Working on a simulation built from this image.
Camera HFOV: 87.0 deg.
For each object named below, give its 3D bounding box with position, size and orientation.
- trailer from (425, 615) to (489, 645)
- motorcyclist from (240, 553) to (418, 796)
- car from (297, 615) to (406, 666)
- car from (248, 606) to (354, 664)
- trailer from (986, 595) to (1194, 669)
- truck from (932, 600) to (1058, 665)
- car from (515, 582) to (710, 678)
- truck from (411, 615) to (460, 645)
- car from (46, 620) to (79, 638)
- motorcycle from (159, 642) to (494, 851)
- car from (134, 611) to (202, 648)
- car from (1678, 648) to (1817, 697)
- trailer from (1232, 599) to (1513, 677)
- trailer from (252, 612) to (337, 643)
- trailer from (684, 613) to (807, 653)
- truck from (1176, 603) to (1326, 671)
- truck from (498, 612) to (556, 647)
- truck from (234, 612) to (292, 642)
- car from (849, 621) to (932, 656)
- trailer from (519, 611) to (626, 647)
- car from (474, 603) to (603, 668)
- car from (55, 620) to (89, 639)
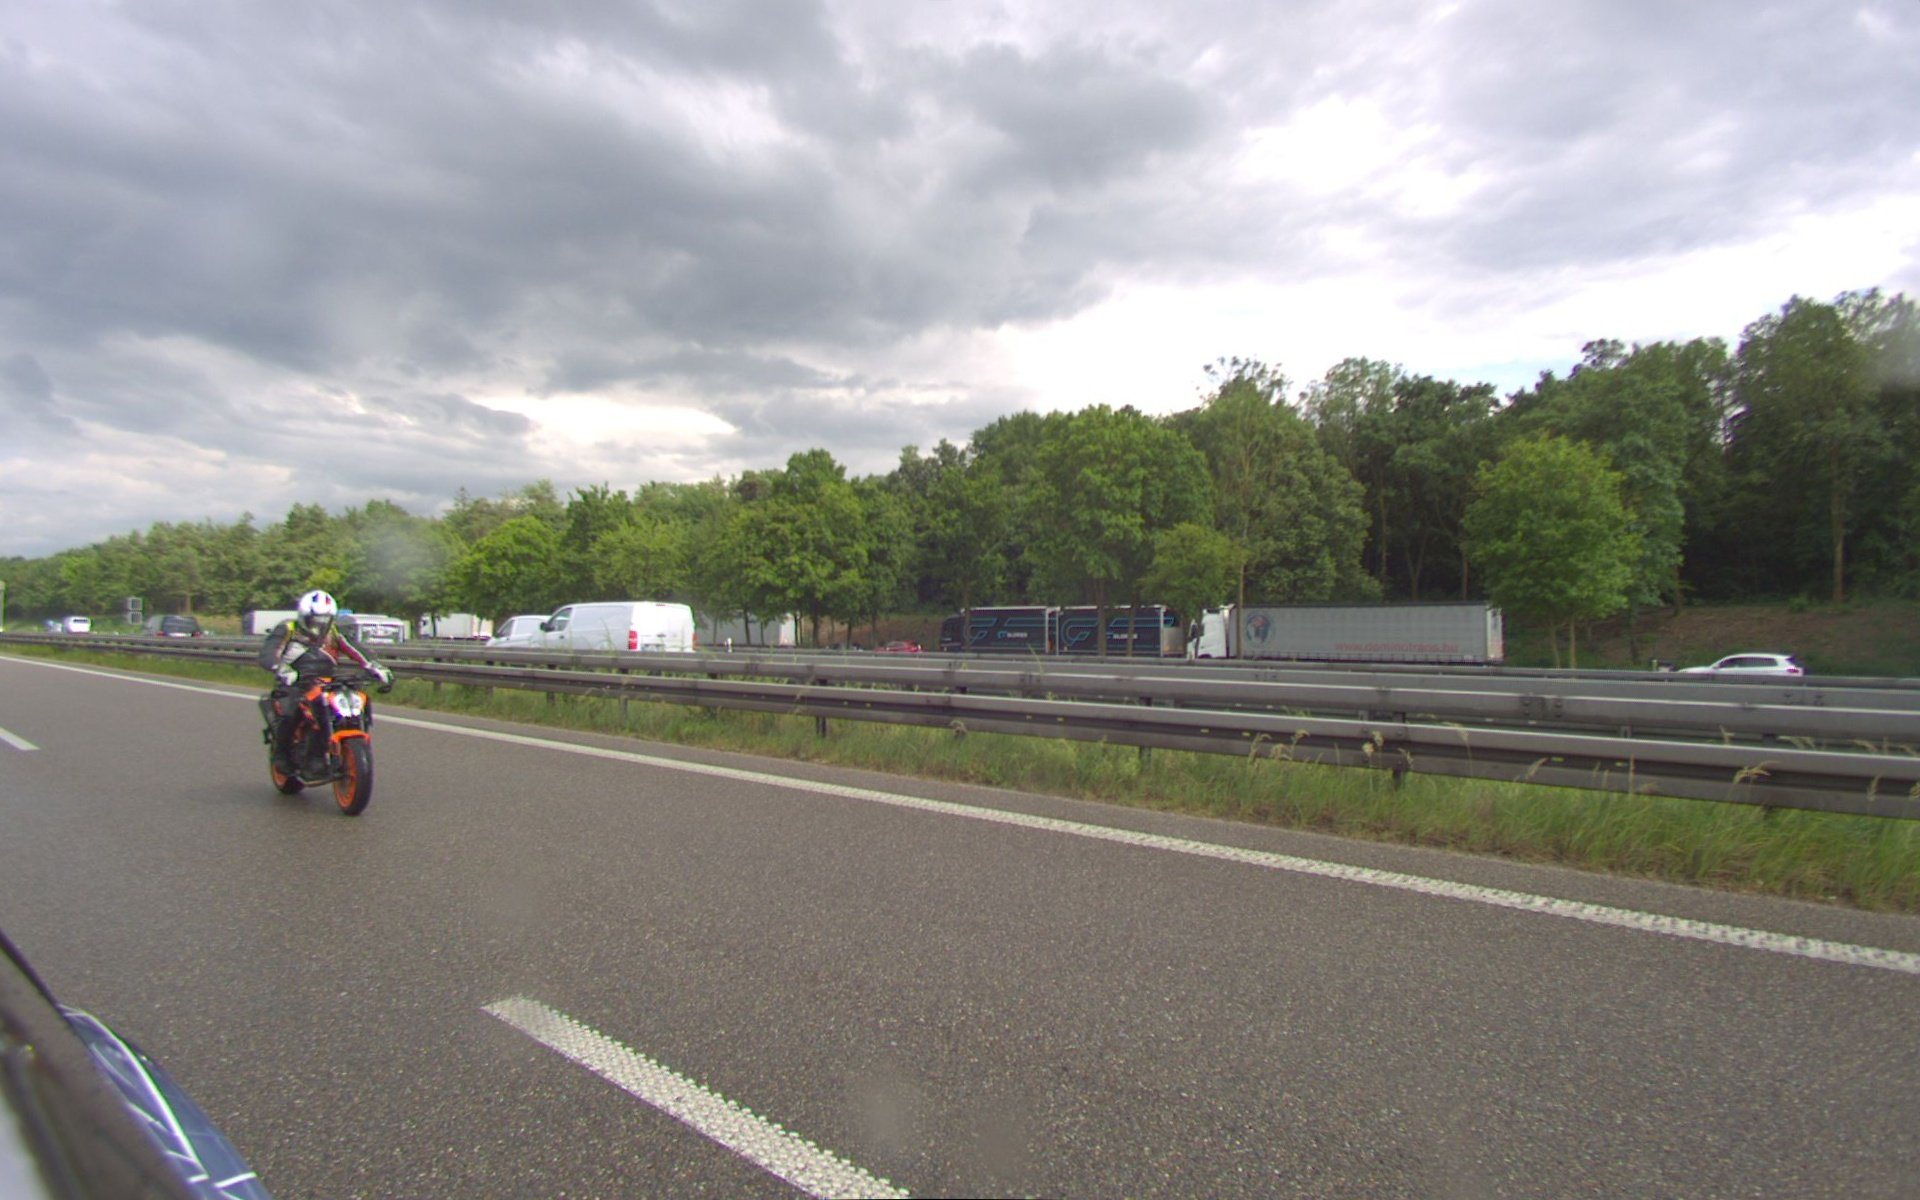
[{"bbox_3d":[-55.868,3.328,112.378,7.712,3.257,2.560,-1,-2,31],"label":"trailer"},{"bbox_3d":[-4.867,0.528,7.812,0.999,1.719,0.872,-1,0,38],"label":"motorcyclist"},{"bbox_3d":[-26.991,1.713,44.772,6.495,2.061,2.152,-1,0,40],"label":"car"},{"bbox_3d":[-25.159,1.285,38.604,4.648,2.061,2.152,-1,0,40],"label":"car"},{"bbox_3d":[8.191,2.065,66.208,13.796,4.439,3.749,-1,-2,42],"label":"trailer"},{"bbox_3d":[2.401,2.217,71.268,8.413,4.266,3.748,-1,0,41],"label":"truck"},{"bbox_3d":[-8.404,0.670,24.222,5.205,2.061,2.030,-1,0,40],"label":"car"},{"bbox_3d":[-59.170,3.384,114.251,5.066,3.292,2.636,-1,0,30],"label":"truck"},{"bbox_3d":[-99.994,3.181,112.711,5.256,1.905,2.026,-1,0,40],"label":"car"},{"bbox_3d":[-5.015,0.990,7.874,3.189,1.235,1.174,-1,0,37],"label":"motorcycle"},{"bbox_3d":[-43.467,1.573,55.505,5.055,1.905,1.933,-1,0,40],"label":"car"},{"bbox_3d":[32.592,2.944,41.962,4.368,1.731,2.036,-1,0,43],"label":"car"},{"bbox_3d":[21.444,1.949,53.640,13.340,3.677,3.749,-1,-2,42],"label":"trailer"},{"bbox_3d":[-83.654,3.429,127.117,12.504,3.767,3.185,-1,-2,27],"label":"trailer"},{"bbox_3d":[-18.711,2.857,87.547,12.458,3.241,3.315,-1,-2,38],"label":"trailer"},{"bbox_3d":[16.597,2.034,57.968,7.351,3.616,3.748,-1,0,41],"label":"truck"},{"bbox_3d":[-45.370,3.034,105.988,5.880,3.482,2.837,-1,0,33],"label":"truck"},{"bbox_3d":[-89.525,3.488,130.033,6.880,3.733,3.189,-1,0,26],"label":"truck"},{"bbox_3d":[-5.375,2.897,77.436,6.207,2.501,2.764,-1,0,41],"label":"car"},{"bbox_3d":[-39.143,2.907,101.814,13.388,3.431,2.800,-1,-2,34],"label":"trailer"},{"bbox_3d":[-14.332,1.150,34.316,4.648,2.061,2.152,-1,0,40],"label":"car"},{"bbox_3d":[-95.360,3.133,108.695,5.256,1.905,2.026,-1,0,40],"label":"car"}]
